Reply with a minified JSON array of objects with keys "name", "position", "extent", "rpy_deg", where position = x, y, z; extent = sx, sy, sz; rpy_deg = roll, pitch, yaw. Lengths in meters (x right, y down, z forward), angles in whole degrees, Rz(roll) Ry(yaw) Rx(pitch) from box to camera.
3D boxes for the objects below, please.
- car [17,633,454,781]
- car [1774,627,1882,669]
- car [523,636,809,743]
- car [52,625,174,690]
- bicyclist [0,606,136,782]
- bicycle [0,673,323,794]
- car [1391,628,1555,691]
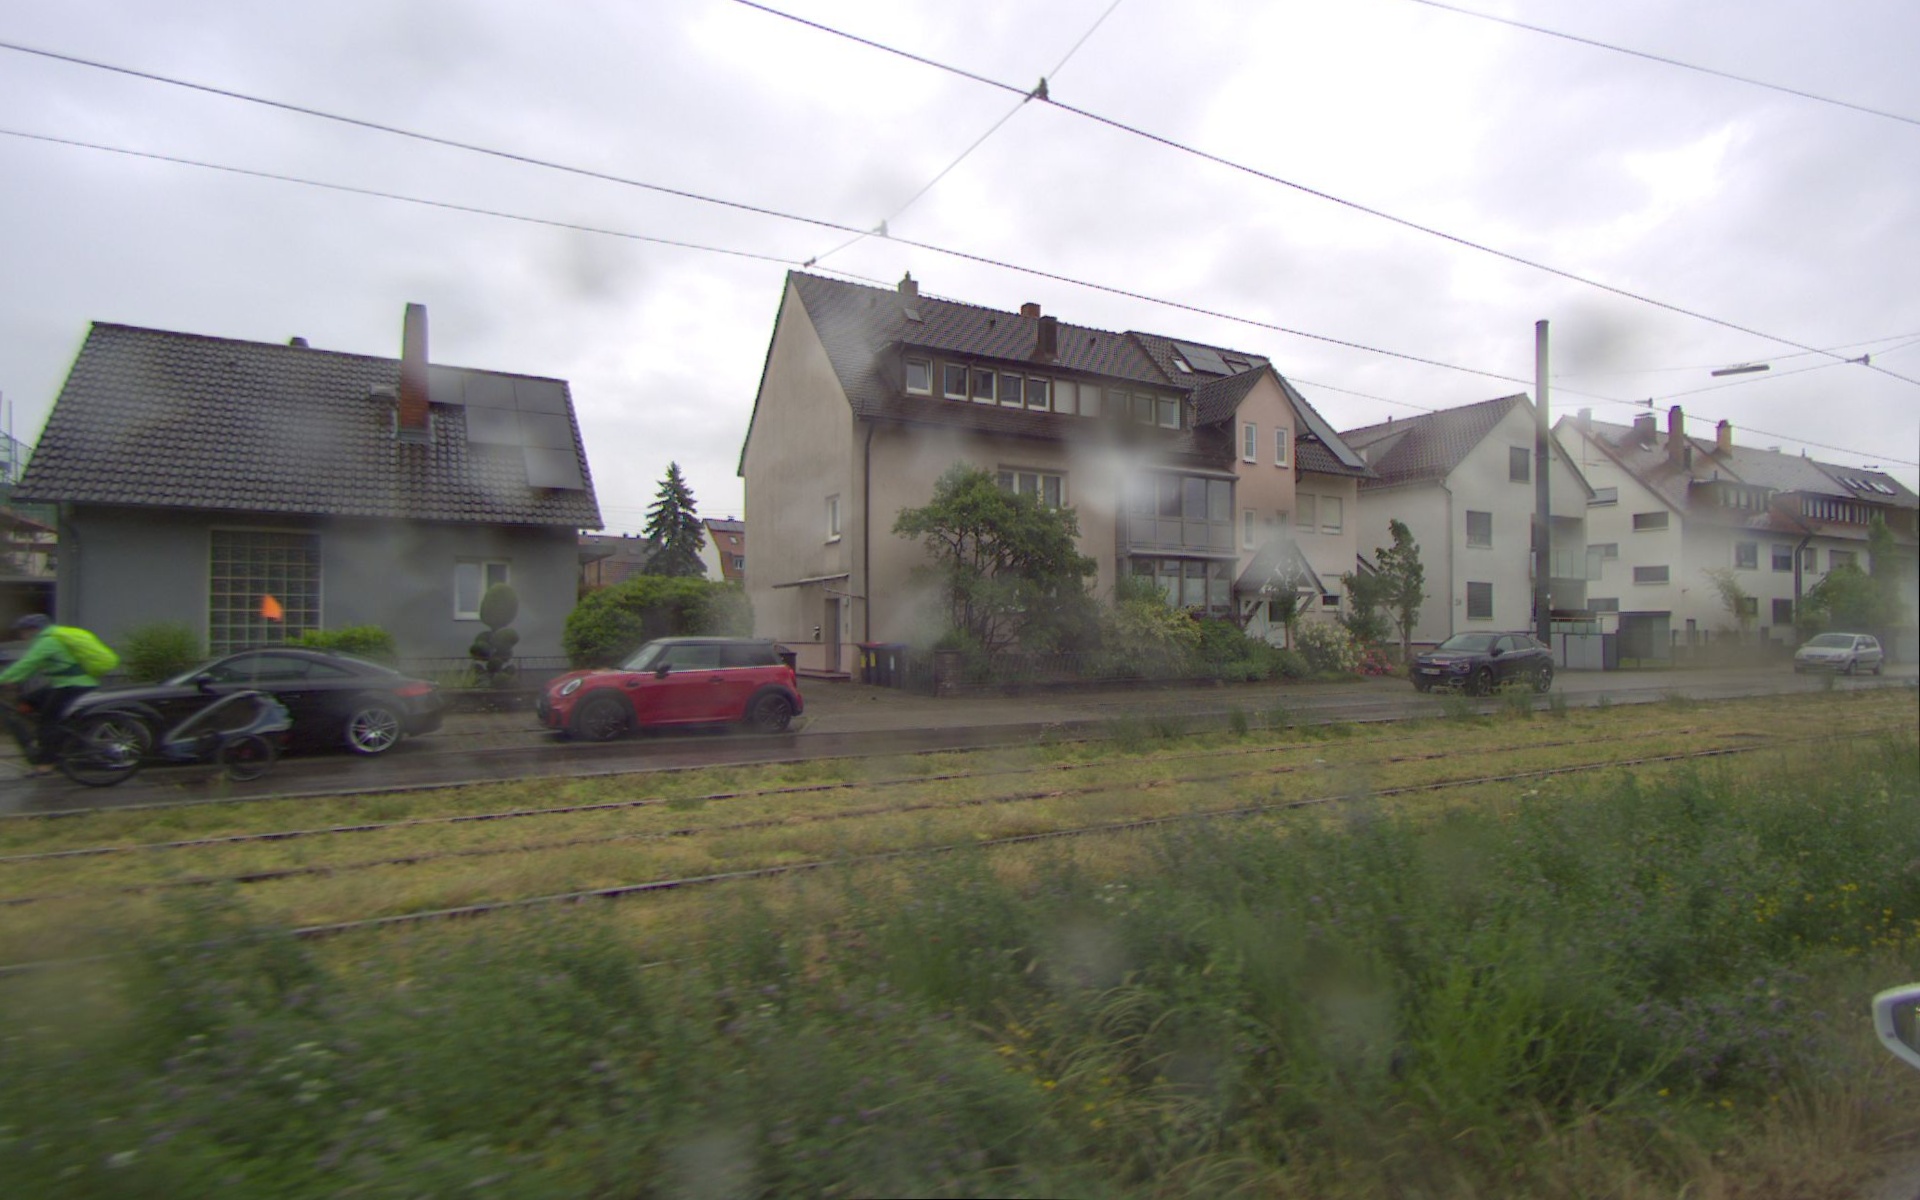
[{"name":"car","position":[-8.705,1.200,12.562],"extent":[4.126,1.428,1.983],"rpy_deg":[0,0,-31]},{"name":"car","position":[31.745,1.744,36.736],"extent":[3.616,1.432,1.983],"rpy_deg":[2,-1,-31]},{"name":"car","position":[-4.451,1.285,15.290],"extent":[3.800,1.391,1.983],"rpy_deg":[2,-1,-31]},{"name":"car","position":[-22.119,1.453,26.390],"extent":[1.774,1.505,3.967],"rpy_deg":[2,-1,-31]},{"name":"bicyclist","position":[-8.948,0.869,9.668],"extent":[1.384,1.605,0.949],"rpy_deg":[2,-1,-31]},{"name":"bicycle","position":[-8.401,1.291,10.031],"extent":[3.396,1.057,0.930],"rpy_deg":[2,-3,-32]},{"name":"car","position":[13.088,1.494,25.569],"extent":[4.127,1.445,1.827],"rpy_deg":[2,-1,-31]}]
